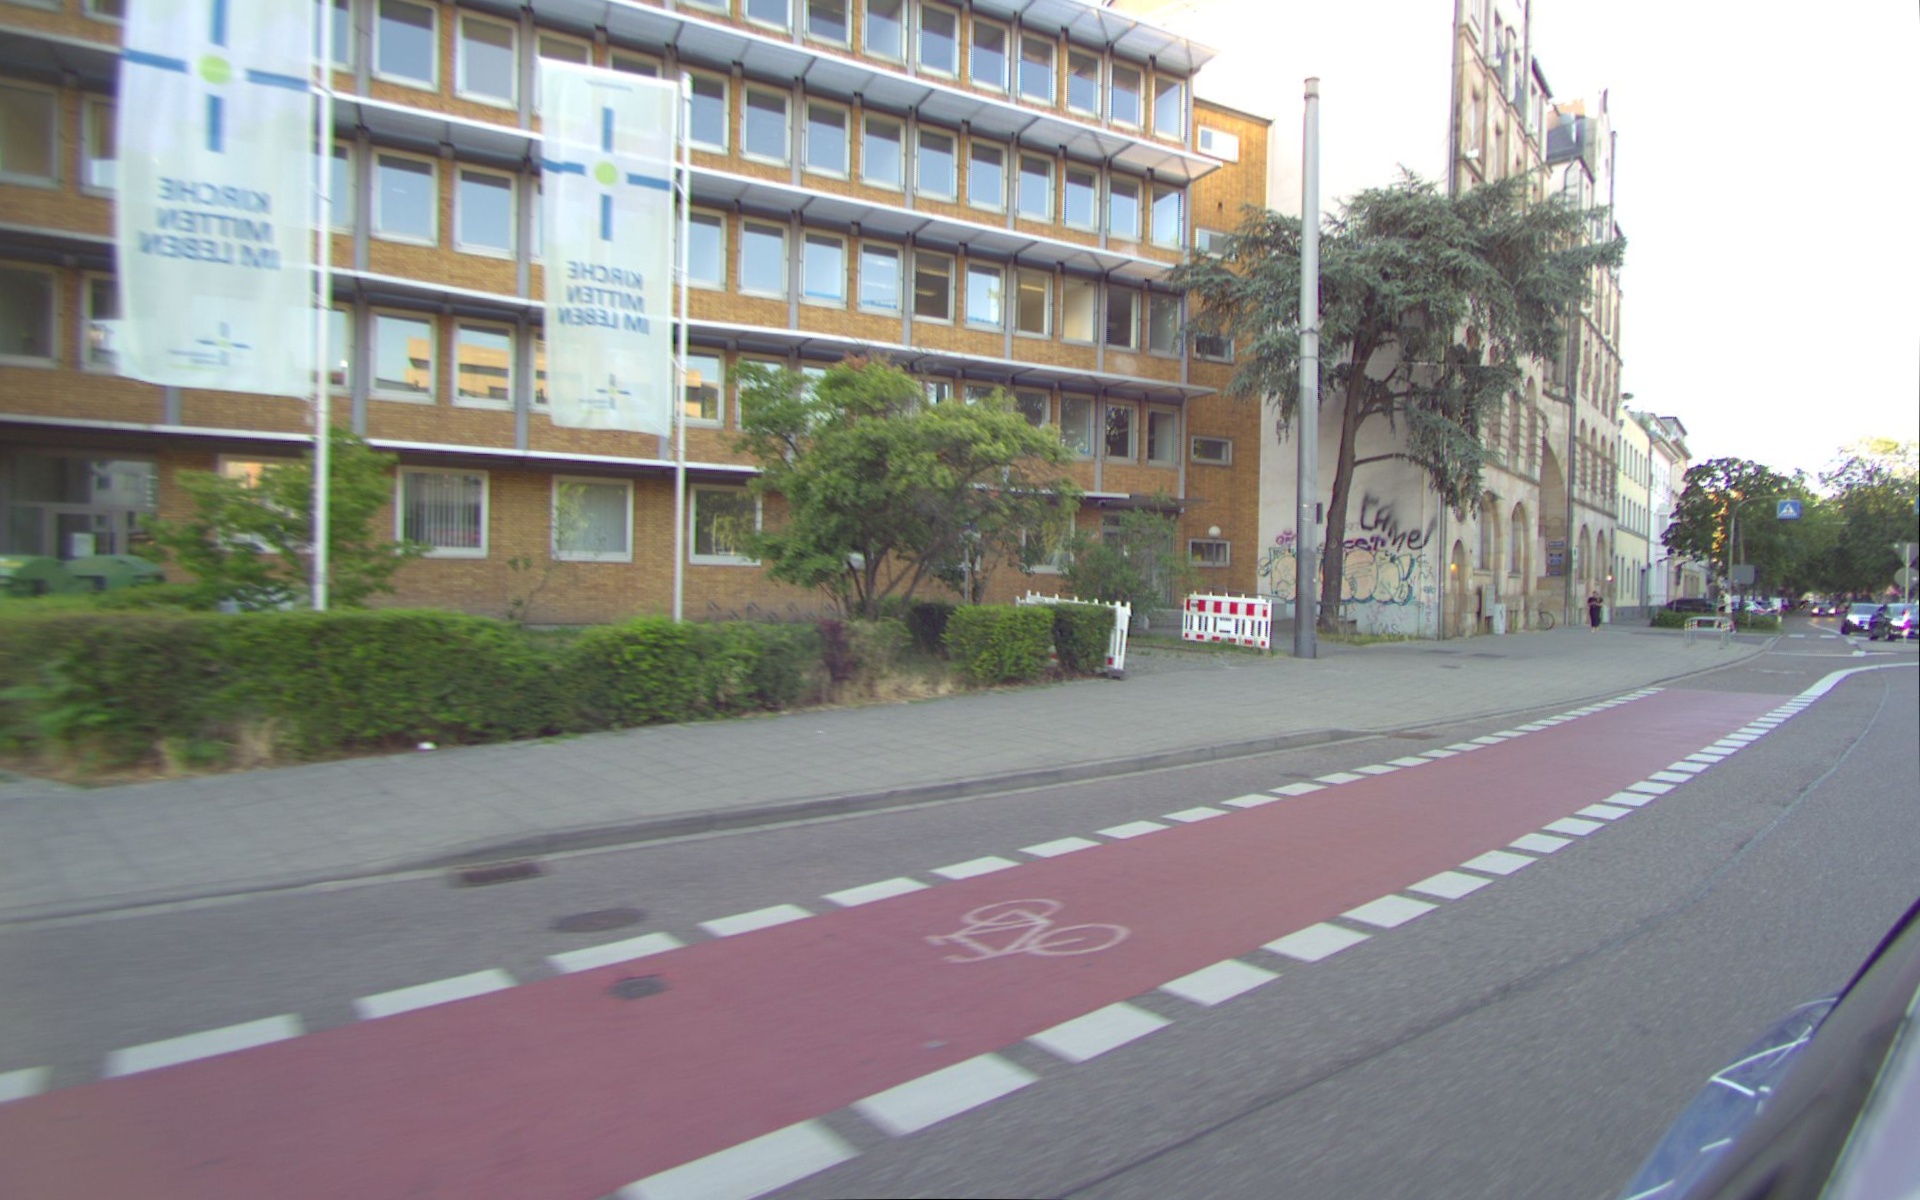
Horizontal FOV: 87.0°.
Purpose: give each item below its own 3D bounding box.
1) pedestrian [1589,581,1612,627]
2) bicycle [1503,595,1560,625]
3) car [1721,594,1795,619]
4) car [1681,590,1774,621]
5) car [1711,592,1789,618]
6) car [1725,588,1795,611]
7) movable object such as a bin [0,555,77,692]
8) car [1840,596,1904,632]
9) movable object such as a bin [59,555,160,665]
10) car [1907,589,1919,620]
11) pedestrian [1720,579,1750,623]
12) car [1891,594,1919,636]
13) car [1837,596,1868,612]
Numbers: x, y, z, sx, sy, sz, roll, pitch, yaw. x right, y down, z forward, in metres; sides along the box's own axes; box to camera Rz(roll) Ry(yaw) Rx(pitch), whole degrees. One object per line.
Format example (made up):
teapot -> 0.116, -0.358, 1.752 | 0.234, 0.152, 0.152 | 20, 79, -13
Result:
pedestrian -> 24.794, 0.148, 39.176 | 0.576, 1.730, 0.710 | 2, 0, 44
bicycle -> 21.898, 0.379, 38.807 | 1.848, 1.086, 0.423 | 3, 0, 40
car -> 56.993, 0.449, 72.305 | 4.051, 1.571, 1.970 | 3, 1, 41
car -> 43.976, 0.300, 58.026 | 4.056, 1.589, 1.808 | 3, 1, 44
car -> 52.942, 0.353, 67.828 | 4.051, 1.571, 1.970 | 3, 1, 41
car -> 65.024, -0.040, 82.298 | 4.380, 1.633, 1.704 | 3, 1, 40
movable object such as a bin -> -10.842, 0.224, 11.155 | 1.317, 1.456, 0.976 | 2, 0, -8
car -> 42.130, 0.648, 46.721 | 4.065, 1.501, 1.817 | 2, 1, -43
movable object such as a bin -> -11.781, 0.125, 14.062 | 0.906, 1.442, 1.345 | 2, 0, -35
car -> 65.760, 0.384, 66.236 | 1.927, 2.047, 5.092 | 2, 1, -26
pedestrian -> 32.445, 0.045, 42.376 | 0.804, 1.814, 0.593 | 2, 0, -17
car -> 36.378, 0.597, 38.057 | 1.814, 1.501, 4.074 | 2, 1, 41
car -> 90.153, 0.413, 102.210 | 4.064, 1.501, 1.818 | 2, 0, -42
